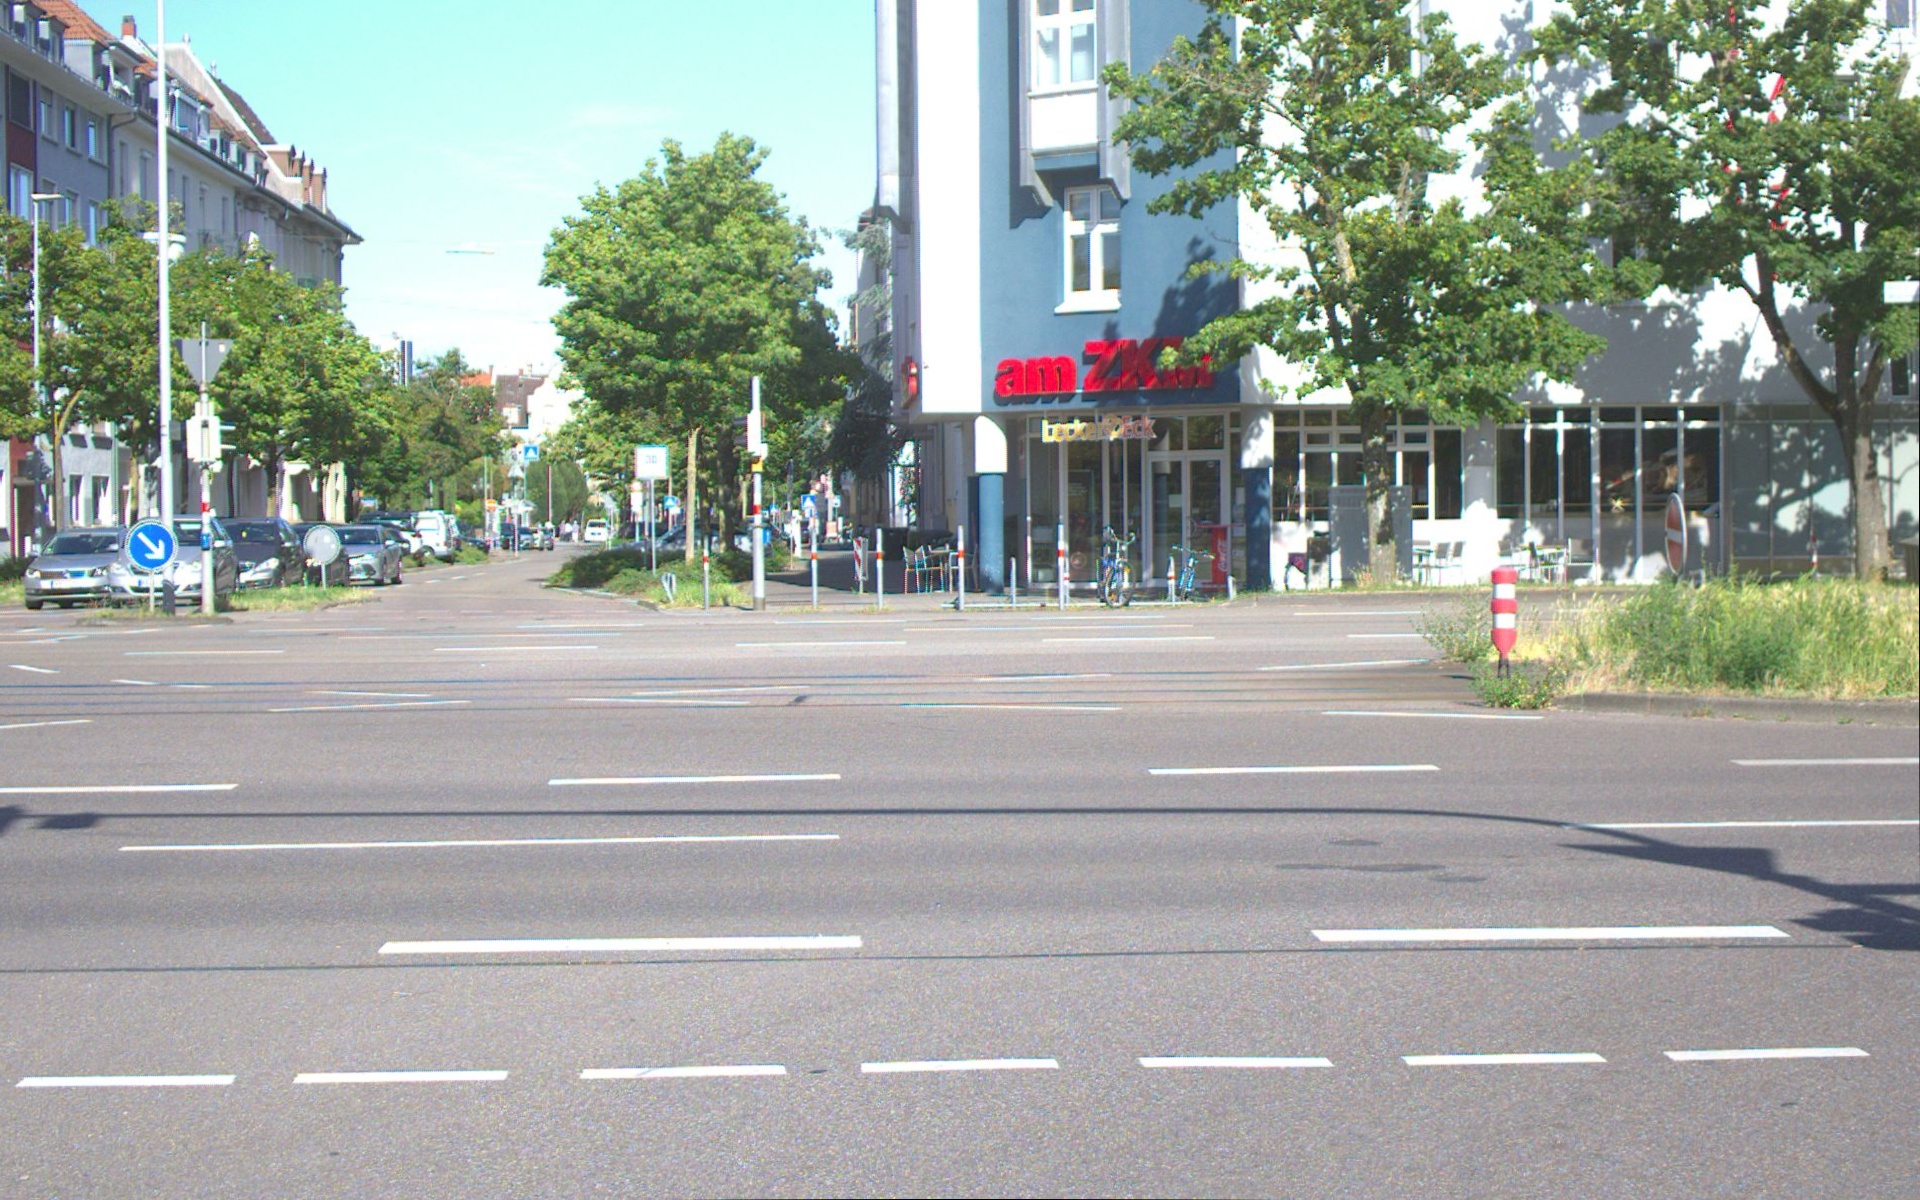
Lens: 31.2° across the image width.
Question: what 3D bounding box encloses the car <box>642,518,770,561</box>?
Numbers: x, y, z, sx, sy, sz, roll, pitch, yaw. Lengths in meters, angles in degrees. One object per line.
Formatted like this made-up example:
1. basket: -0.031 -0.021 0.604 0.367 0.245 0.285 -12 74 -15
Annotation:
1. car: -7.315 -1.739 98.937 3.566 1.219 1.731 0 0 -8

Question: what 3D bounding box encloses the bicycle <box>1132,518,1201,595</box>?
1. bicycle: 2.777 -0.594 46.316 0.471 1.023 1.517 -1 1 -14

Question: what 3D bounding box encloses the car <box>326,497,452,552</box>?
1. car: -21.447 -2.832 129.215 4.504 2.007 2.000 0 0 -5

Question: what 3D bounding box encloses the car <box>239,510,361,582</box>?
1. car: -13.949 -1.143 72.877 1.688 1.427 4.400 2 1 0

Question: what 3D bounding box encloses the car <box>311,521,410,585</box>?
1. car: -14.167 -1.126 81.445 1.688 1.427 4.400 2 1 -2

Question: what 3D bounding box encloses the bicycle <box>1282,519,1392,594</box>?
1. bicycle: 5.280 -0.609 48.134 1.512 1.023 0.473 -1 1 9

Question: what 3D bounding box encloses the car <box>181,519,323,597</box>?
1. car: -13.686 -0.828 66.699 1.688 1.427 4.400 2 1 2

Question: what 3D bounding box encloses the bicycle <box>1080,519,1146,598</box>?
1. bicycle: 2.025 -0.563 45.772 0.471 1.023 1.517 -1 1 -13

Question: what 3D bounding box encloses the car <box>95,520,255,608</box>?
1. car: -13.623 -0.642 59.900 1.688 1.427 4.400 2 1 1

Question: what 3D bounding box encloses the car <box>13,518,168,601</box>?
1. car: -15.922 -0.758 63.138 1.688 1.427 4.400 2 1 0
